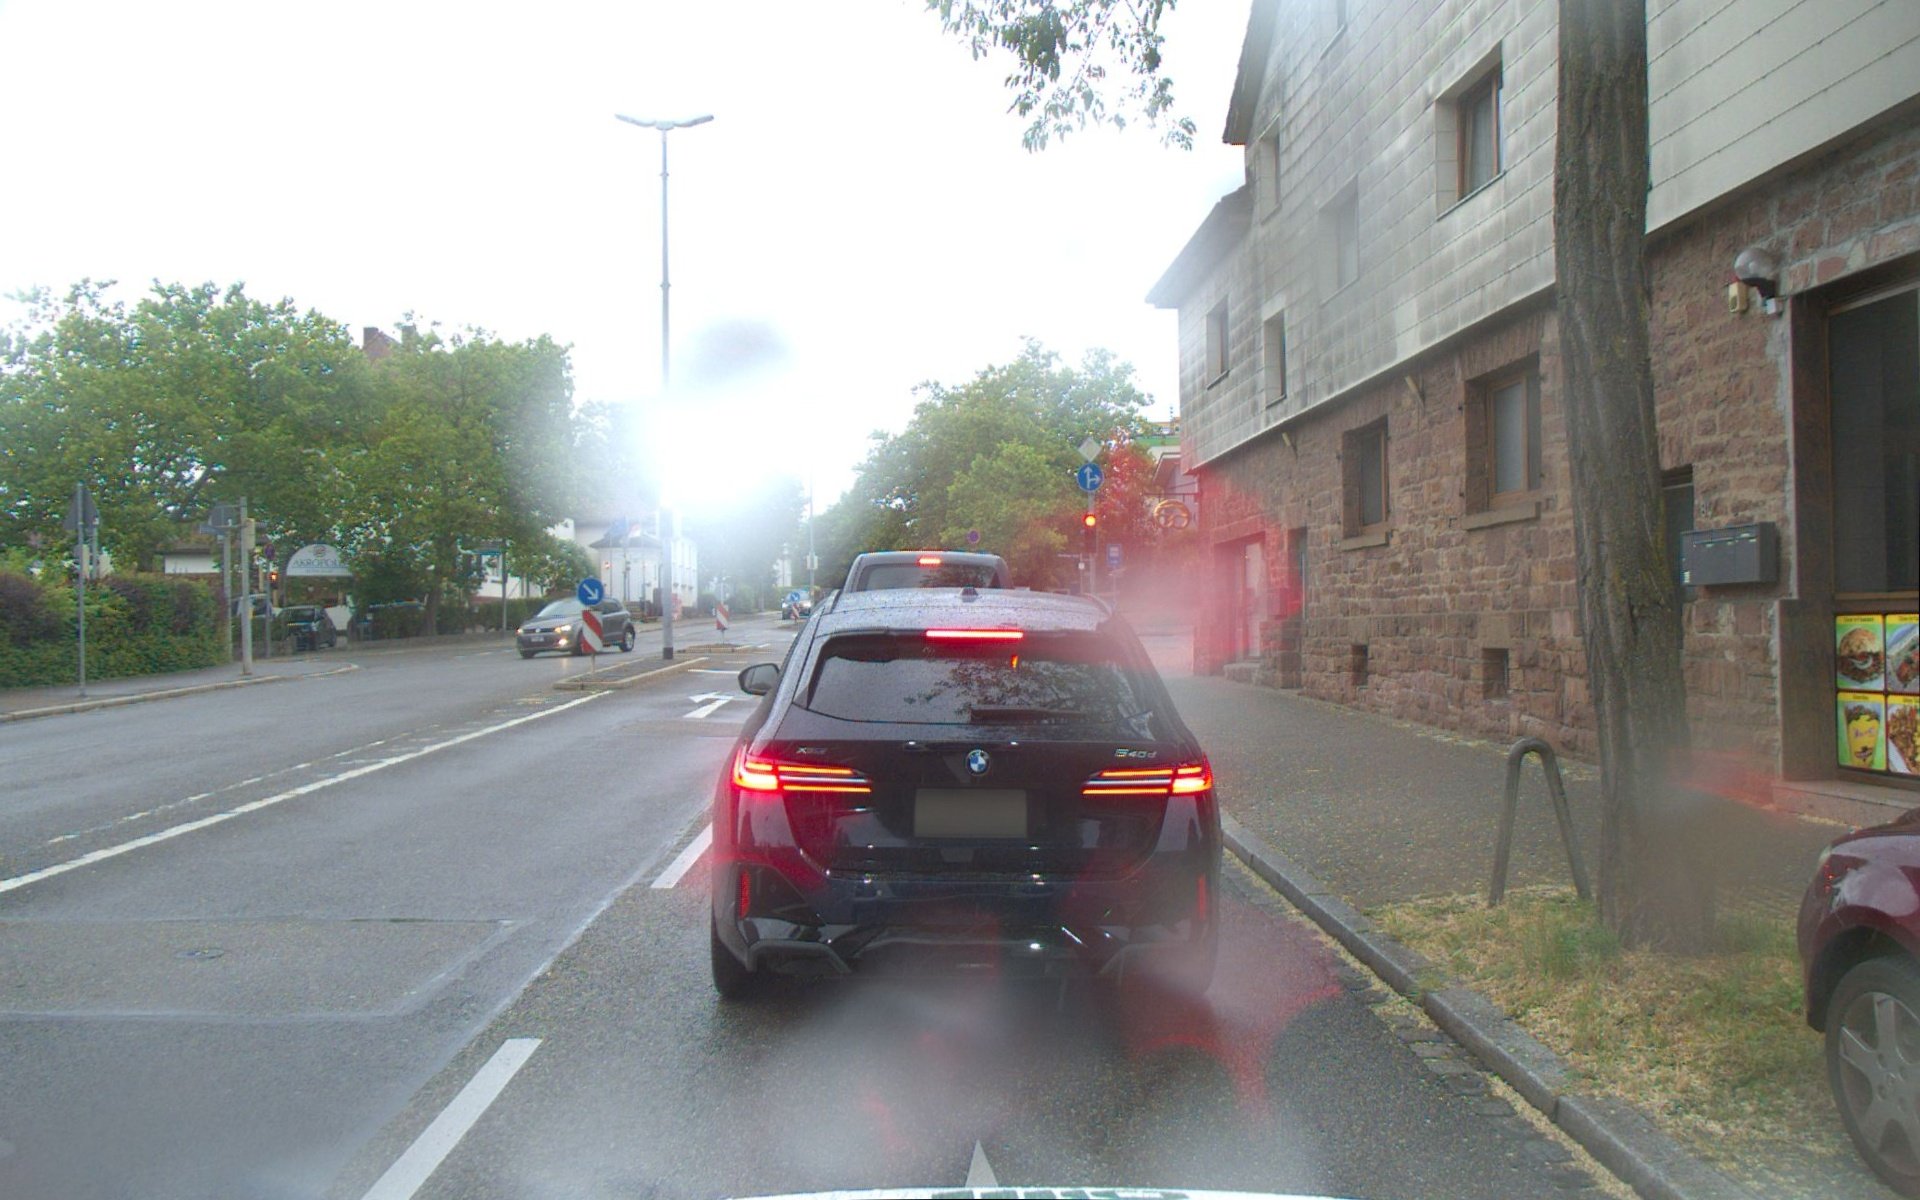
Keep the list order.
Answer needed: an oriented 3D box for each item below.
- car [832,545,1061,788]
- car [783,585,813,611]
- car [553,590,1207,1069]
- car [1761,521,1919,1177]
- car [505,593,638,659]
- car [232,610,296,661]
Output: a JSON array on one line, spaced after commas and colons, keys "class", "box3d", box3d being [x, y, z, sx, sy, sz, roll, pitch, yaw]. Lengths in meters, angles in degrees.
[{"class": "car", "box3d": [-0.202, 0.487, 14.642, 1.748, 1.849, 3.998, 0, 0, -3]}, {"class": "car", "box3d": [-9.310, -0.127, 95.252, 1.435, 1.422, 3.321, 0, 0, -1]}, {"class": "car", "box3d": [-0.361, 0.713, 7.392, 2.023, 1.472, 4.480, 1, 0, -3]}, {"class": "car", "box3d": [3.045, 0.552, 2.614, 1.553, 1.516, 3.625, -3, 1, -4]}, {"class": "car", "box3d": [-9.544, 0.603, 40.946, 1.951, 1.536, 3.958, 0, 0, 7]}, {"class": "car", "box3d": [-23.807, 1.184, 56.686, 1.966, 1.579, 3.973, 0, 0, -22]}]
